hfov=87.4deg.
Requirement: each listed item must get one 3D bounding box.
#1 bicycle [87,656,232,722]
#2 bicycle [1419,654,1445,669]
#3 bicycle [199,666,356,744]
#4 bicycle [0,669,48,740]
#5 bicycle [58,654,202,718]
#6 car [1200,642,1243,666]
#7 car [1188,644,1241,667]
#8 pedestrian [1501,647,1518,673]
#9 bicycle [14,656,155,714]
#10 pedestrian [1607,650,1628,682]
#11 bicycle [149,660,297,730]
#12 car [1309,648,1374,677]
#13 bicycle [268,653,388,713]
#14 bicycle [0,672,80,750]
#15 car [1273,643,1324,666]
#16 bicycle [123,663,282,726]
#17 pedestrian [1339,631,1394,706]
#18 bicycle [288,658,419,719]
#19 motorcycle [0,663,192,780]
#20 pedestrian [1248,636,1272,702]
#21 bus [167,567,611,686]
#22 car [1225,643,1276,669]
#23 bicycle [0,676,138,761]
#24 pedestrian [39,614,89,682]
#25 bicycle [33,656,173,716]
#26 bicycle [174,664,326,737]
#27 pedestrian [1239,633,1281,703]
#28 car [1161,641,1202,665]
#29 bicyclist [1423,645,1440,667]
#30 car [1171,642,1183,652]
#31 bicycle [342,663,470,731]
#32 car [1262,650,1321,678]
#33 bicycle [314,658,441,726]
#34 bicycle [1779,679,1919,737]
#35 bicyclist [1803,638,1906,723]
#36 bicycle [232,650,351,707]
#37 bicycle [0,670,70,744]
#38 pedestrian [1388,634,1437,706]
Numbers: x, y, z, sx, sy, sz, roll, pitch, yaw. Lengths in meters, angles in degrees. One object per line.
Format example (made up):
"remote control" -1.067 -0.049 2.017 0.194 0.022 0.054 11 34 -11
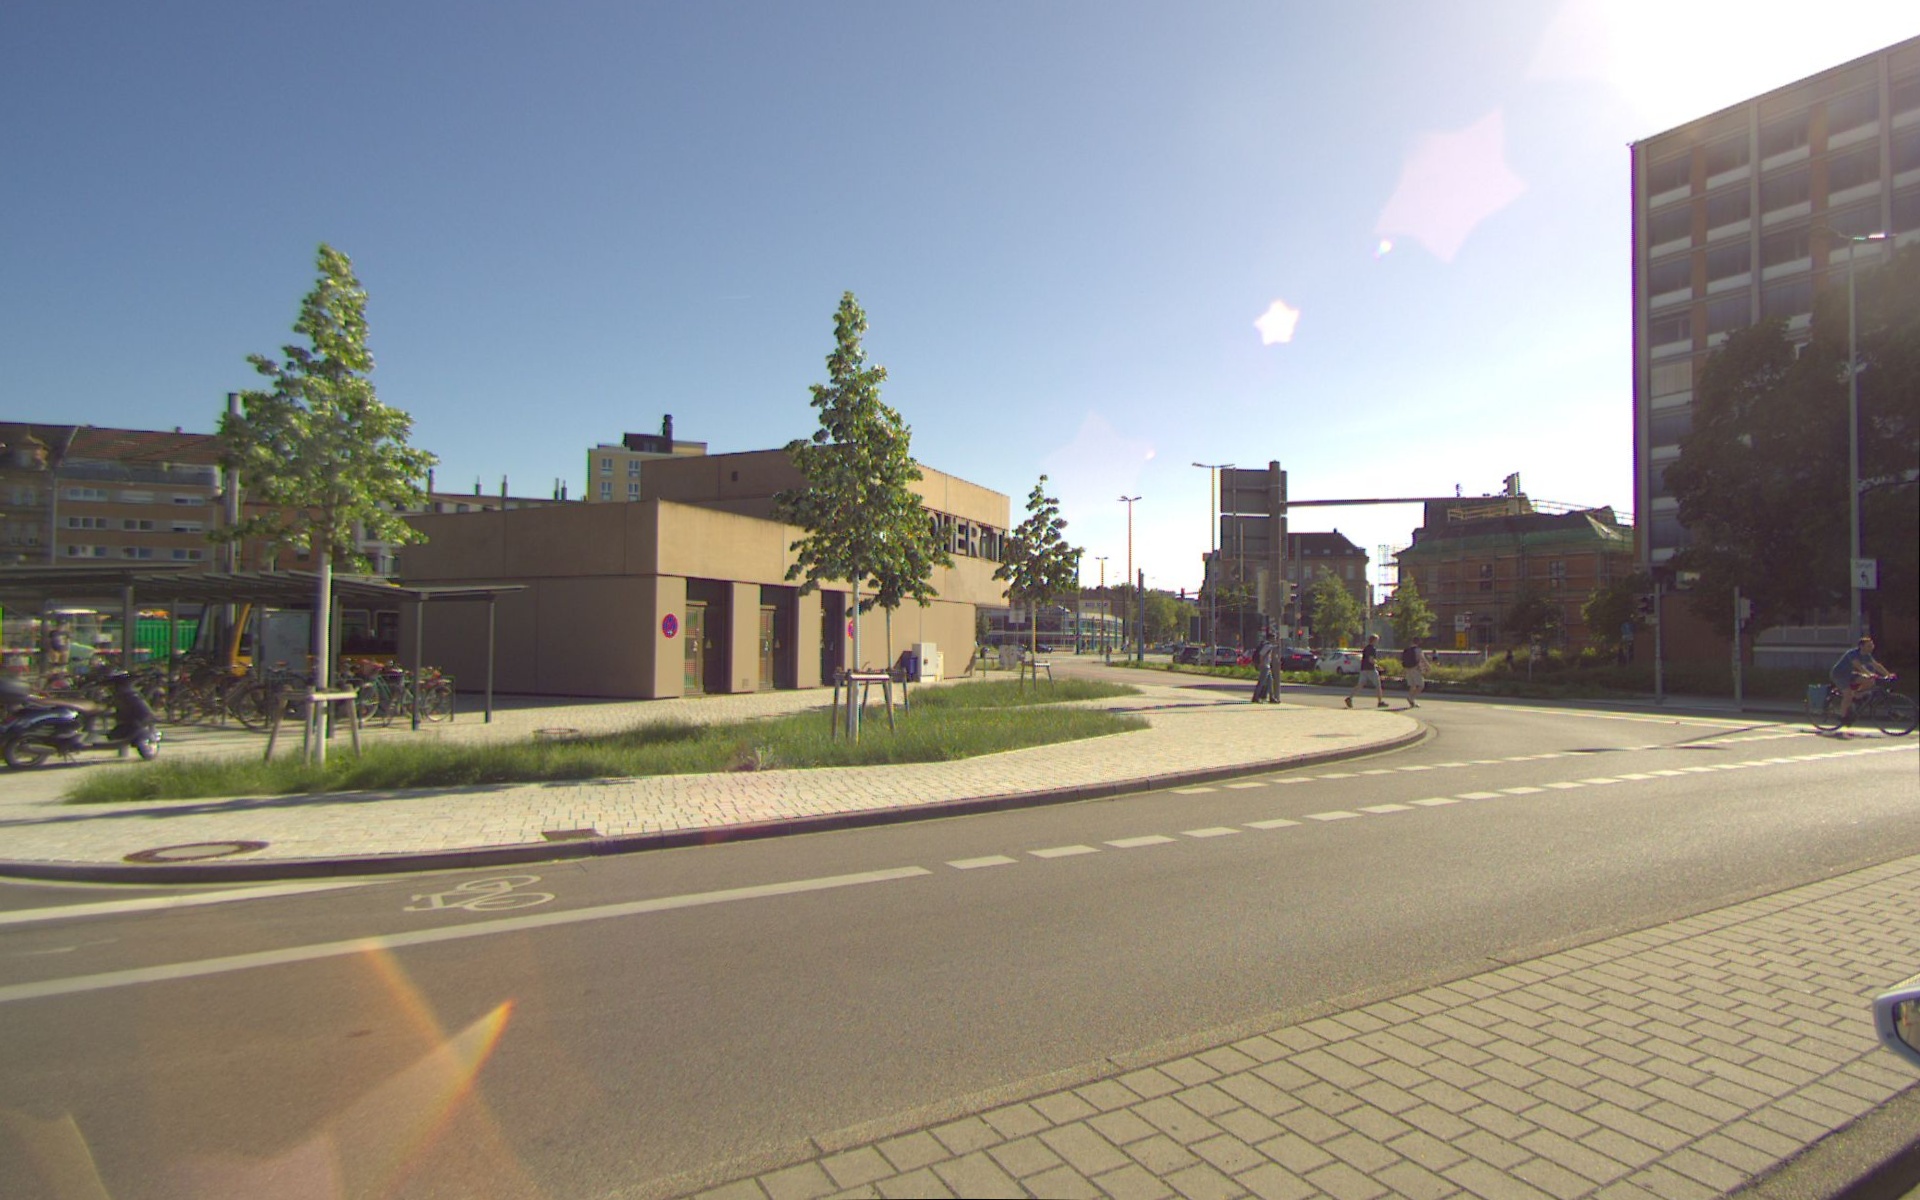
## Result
"bicycle" -15.014 1.639 18.905 0.524 1.051 2.070 5 1 26
"bicycle" 32.163 4.185 68.499 0.587 0.976 2.081 1 -2 -6
"bicycle" -10.901 1.649 16.132 0.524 1.051 2.070 2 0 26
"bicycle" -14.198 1.525 14.374 0.399 0.985 1.683 2 0 22
"bicycle" -15.900 1.622 19.319 0.524 1.051 2.070 5 1 26
"car" 19.620 4.031 75.504 1.809 1.653 4.386 1 -2 -4
"car" 17.271 3.761 68.325 1.810 1.406 4.895 1 -2 -8
"pedestrian" 33.542 3.646 61.291 0.548 1.592 0.862 1 -2 -5
"bicycle" -17.769 1.696 20.456 0.524 1.051 2.070 5 0 26
"pedestrian" 34.347 3.450 52.486 0.587 1.624 0.739 1 -2 -8
"bicycle" -12.896 1.628 17.656 0.524 1.051 2.070 2 0 26
"car" 21.252 3.459 56.096 1.711 1.454 3.843 1 -2 -10
"bicycle" -12.740 1.646 20.327 0.524 1.051 2.070 2 0 26
"bicycle" -13.228 1.543 13.812 0.399 0.985 1.683 2 0 22
"car" 25.533 4.099 75.876 1.809 1.653 4.836 1 -2 -6
"bicycle" -13.707 1.676 18.260 0.673 0.956 2.233 2 0 25
"pedestrian" 10.234 1.728 25.303 1.084 1.822 0.704 2 -4 -11
"bicycle" -11.759 1.697 19.571 0.679 1.011 2.140 2 0 26
"motorcycle" -10.846 1.446 12.475 0.558 1.235 2.087 0 -1 21
"pedestrian" 8.072 1.851 27.031 0.585 1.751 0.580 0 -2 14
"bus" -17.600 0.938 33.162 2.810 3.112 13.620 0 -2 25
"car" 20.041 3.837 69.432 1.810 1.653 4.382 1 -2 -8
"bicycle" -12.200 1.573 13.577 0.399 0.985 1.683 2 0 22
"pedestrian" -26.173 1.400 29.336 0.755 1.942 0.803 0 -2 23
"bicycle" -16.881 1.676 19.848 0.524 1.051 2.070 -2 -2 26
"bicycle" -11.919 1.655 16.945 0.524 1.051 2.070 2 0 26
"pedestrian" 7.596 1.727 25.407 0.888 1.711 0.839 -1 -5 26
"car" 16.523 3.936 75.124 1.809 1.653 4.386 1 -2 -4
"bicyclist" 32.159 3.800 68.515 0.587 1.448 0.938 1 -2 -8
"car" 39.633 8.549 183.031 1.960 1.684 4.003 0 -2 15
"bicycle" -9.965 1.720 18.160 0.524 1.051 2.070 2 0 26
"car" 20.702 3.978 62.892 1.810 1.653 4.382 1 -2 -8
"bicycle" -10.795 1.682 18.698 0.594 1.093 2.053 2 0 25
"bicycle" 15.678 1.858 17.616 0.676 0.930 1.985 1 -4 -16
"bicyclist" 15.683 1.407 17.644 0.676 1.440 1.124 1 -4 -16
"bicycle" -13.915 1.614 20.992 0.524 1.051 2.070 2 0 26
"bicycle" -13.693 1.530 14.173 0.399 0.985 1.683 2 0 22
"pedestrian" 11.123 1.732 24.714 0.775 1.711 0.793 2 -5 -11
